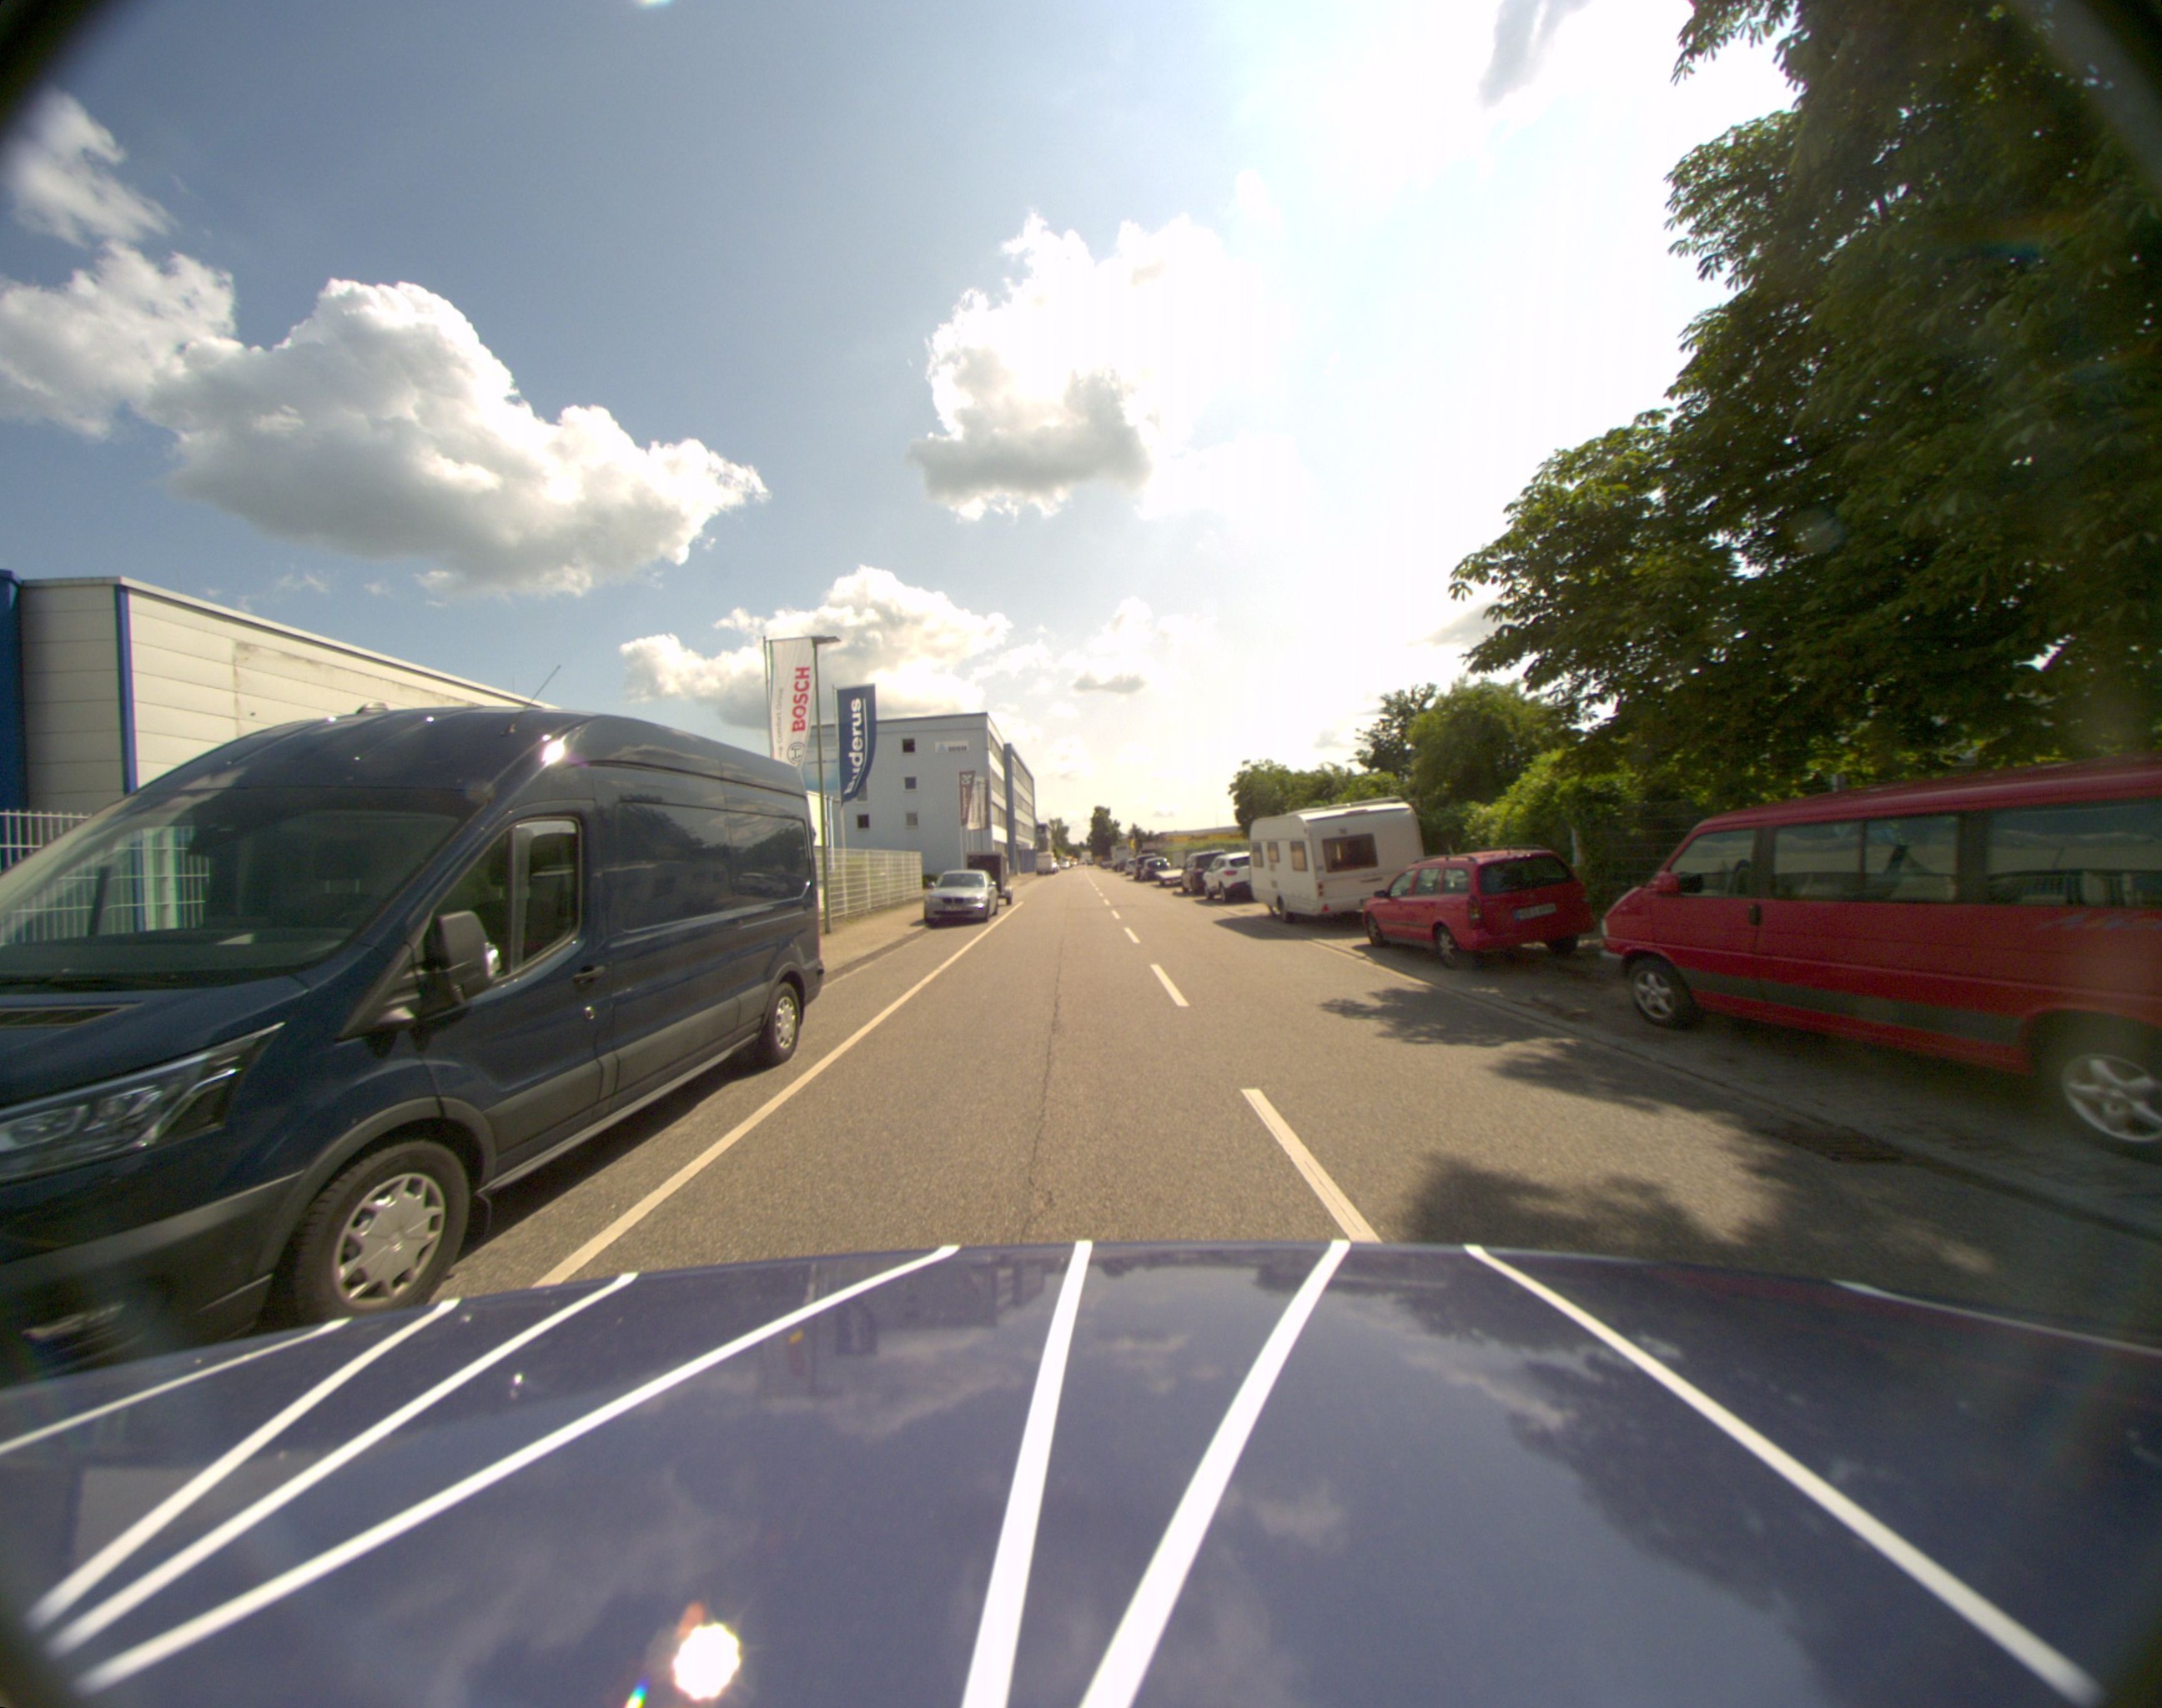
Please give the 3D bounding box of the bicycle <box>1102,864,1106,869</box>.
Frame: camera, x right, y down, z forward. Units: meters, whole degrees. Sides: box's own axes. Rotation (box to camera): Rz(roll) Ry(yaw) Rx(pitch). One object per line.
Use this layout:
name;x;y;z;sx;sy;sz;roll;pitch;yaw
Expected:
bicycle;3.451;1.879;114.983;0.589;0.737;2.125;-3;0;2

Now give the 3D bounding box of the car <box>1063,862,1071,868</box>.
car;-3.001;2.465;167.515;1.657;1.324;4.000;-3;-1;0

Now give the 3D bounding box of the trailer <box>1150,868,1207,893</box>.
trailer;5.324;1.416;42.522;2.277;0.878;7.132;-7;0;1

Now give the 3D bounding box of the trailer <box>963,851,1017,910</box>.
trailer;-3.356;0.955;28.554;1.605;2.025;2.741;-3;0;-1

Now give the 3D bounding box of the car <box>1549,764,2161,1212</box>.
car;5.756;0.546;5.115;1.903;1.943;4.957;-8;0;0

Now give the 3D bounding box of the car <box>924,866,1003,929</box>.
car;-3.267;1.167;21.837;1.576;1.498;4.132;-3;0;-1

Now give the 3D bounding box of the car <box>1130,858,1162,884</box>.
car;4.703;1.221;55.694;1.806;1.739;4.713;-2;0;-1

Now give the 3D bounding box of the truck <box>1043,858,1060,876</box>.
truck;-3.720;1.632;96.633;1.969;2.023;4.734;-3;0;0

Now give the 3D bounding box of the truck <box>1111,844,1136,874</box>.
truck;5.364;0.654;96.450;2.256;3.342;6.907;-7;-1;-1

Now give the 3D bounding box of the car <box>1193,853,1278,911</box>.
car;5.341;0.916;26.857;1.688;1.682;4.444;-7;0;-3

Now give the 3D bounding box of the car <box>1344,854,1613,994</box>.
car;5.545;0.850;11.320;1.629;1.523;4.268;-6;0;0

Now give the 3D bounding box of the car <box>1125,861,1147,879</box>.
car;5.025;1.470;69.584;1.619;1.474;3.709;-5;0;0

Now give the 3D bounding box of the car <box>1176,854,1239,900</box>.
car;5.410;0.939;32.999;1.832;1.783;4.735;-2;0;-1

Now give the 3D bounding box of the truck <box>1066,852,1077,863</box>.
truck;-2.438;0.884;200.053;2.402;2.787;6.376;-2;0;2

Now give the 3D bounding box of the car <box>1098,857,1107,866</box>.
car;5.943;2.117;208.311;1.997;2.289;4.003;-3;0;10

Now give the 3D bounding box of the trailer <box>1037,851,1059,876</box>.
trailer;-3.613;1.046;84.290;1.873;2.538;5.073;-3;0;3

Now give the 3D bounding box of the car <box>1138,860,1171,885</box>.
car;4.908;1.226;50.969;1.581;1.504;4.201;-3;0;-2

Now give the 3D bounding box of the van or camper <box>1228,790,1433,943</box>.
van or camper;5.594;0.270;18.409;2.269;2.787;6.832;-6;0;-2

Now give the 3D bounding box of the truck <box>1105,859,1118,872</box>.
truck;5.662;2.117;141.684;2.133;2.225;7.351;-5;-1;3

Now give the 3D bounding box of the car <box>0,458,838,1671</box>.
car;-3.439;0.503;4.577;1.942;2.732;6.154;-2;0;0

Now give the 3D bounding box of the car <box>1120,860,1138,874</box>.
car;5.614;1.529;89.322;1.623;1.421;3.827;-9;0;0
